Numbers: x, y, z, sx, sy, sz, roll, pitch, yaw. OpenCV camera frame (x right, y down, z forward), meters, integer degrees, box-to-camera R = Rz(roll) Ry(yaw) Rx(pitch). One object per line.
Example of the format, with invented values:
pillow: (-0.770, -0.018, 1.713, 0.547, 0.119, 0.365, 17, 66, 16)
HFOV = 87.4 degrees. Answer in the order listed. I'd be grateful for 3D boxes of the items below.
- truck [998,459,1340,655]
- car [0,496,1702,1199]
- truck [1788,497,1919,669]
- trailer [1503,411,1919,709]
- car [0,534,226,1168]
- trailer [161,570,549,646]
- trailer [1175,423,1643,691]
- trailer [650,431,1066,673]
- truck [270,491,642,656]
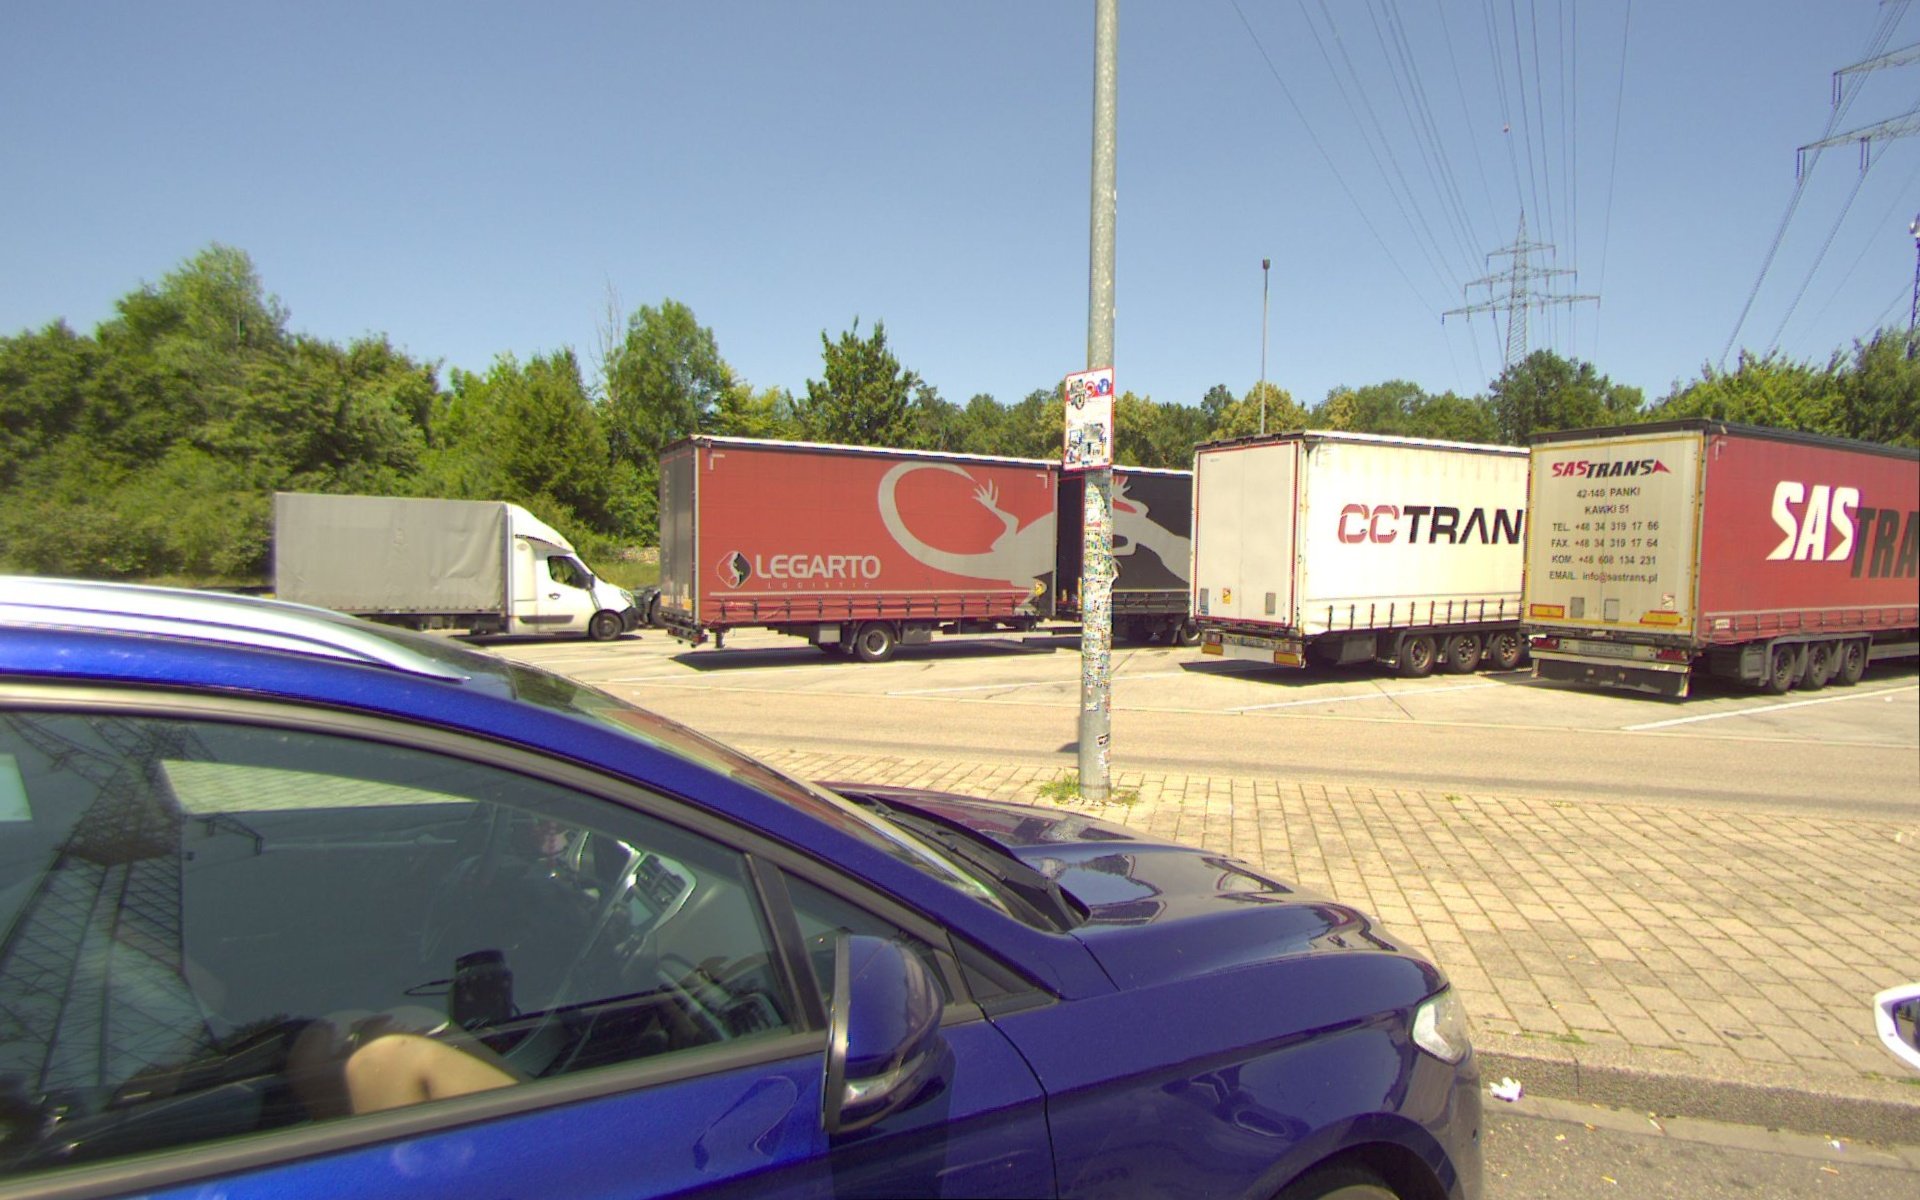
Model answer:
truck: (5.264, -0.995, 24.538, 8.585, 4.127, 2.693, -1, 3, -30)
car: (-0.983, 0.652, 1.451, 4.522, 1.491, 1.743, 0, 2, -32)
truck: (21.250, -0.400, 22.044, 5.903, 3.409, 2.798, -1, 3, -30)
trailer: (15.458, -0.674, 18.608, 13.599, 4.127, 2.807, -1, 3, -31)
car: (-4.424, 0.579, 2.089, 4.522, 1.526, 1.743, 0, 2, -32)
trailer: (-14.757, 0.107, 25.235, 8.007, 1.648, 2.199, -1, 3, -30)
trailer: (8.964, -0.767, 19.342, 10.264, 4.158, 2.693, -1, 3, -30)
trailer: (-1.889, -0.901, 20.330, 8.007, 4.127, 2.693, -1, 3, -30)
truck: (-11.247, -0.620, 22.995, 7.187, 3.289, 2.694, -1, 3, -29)
